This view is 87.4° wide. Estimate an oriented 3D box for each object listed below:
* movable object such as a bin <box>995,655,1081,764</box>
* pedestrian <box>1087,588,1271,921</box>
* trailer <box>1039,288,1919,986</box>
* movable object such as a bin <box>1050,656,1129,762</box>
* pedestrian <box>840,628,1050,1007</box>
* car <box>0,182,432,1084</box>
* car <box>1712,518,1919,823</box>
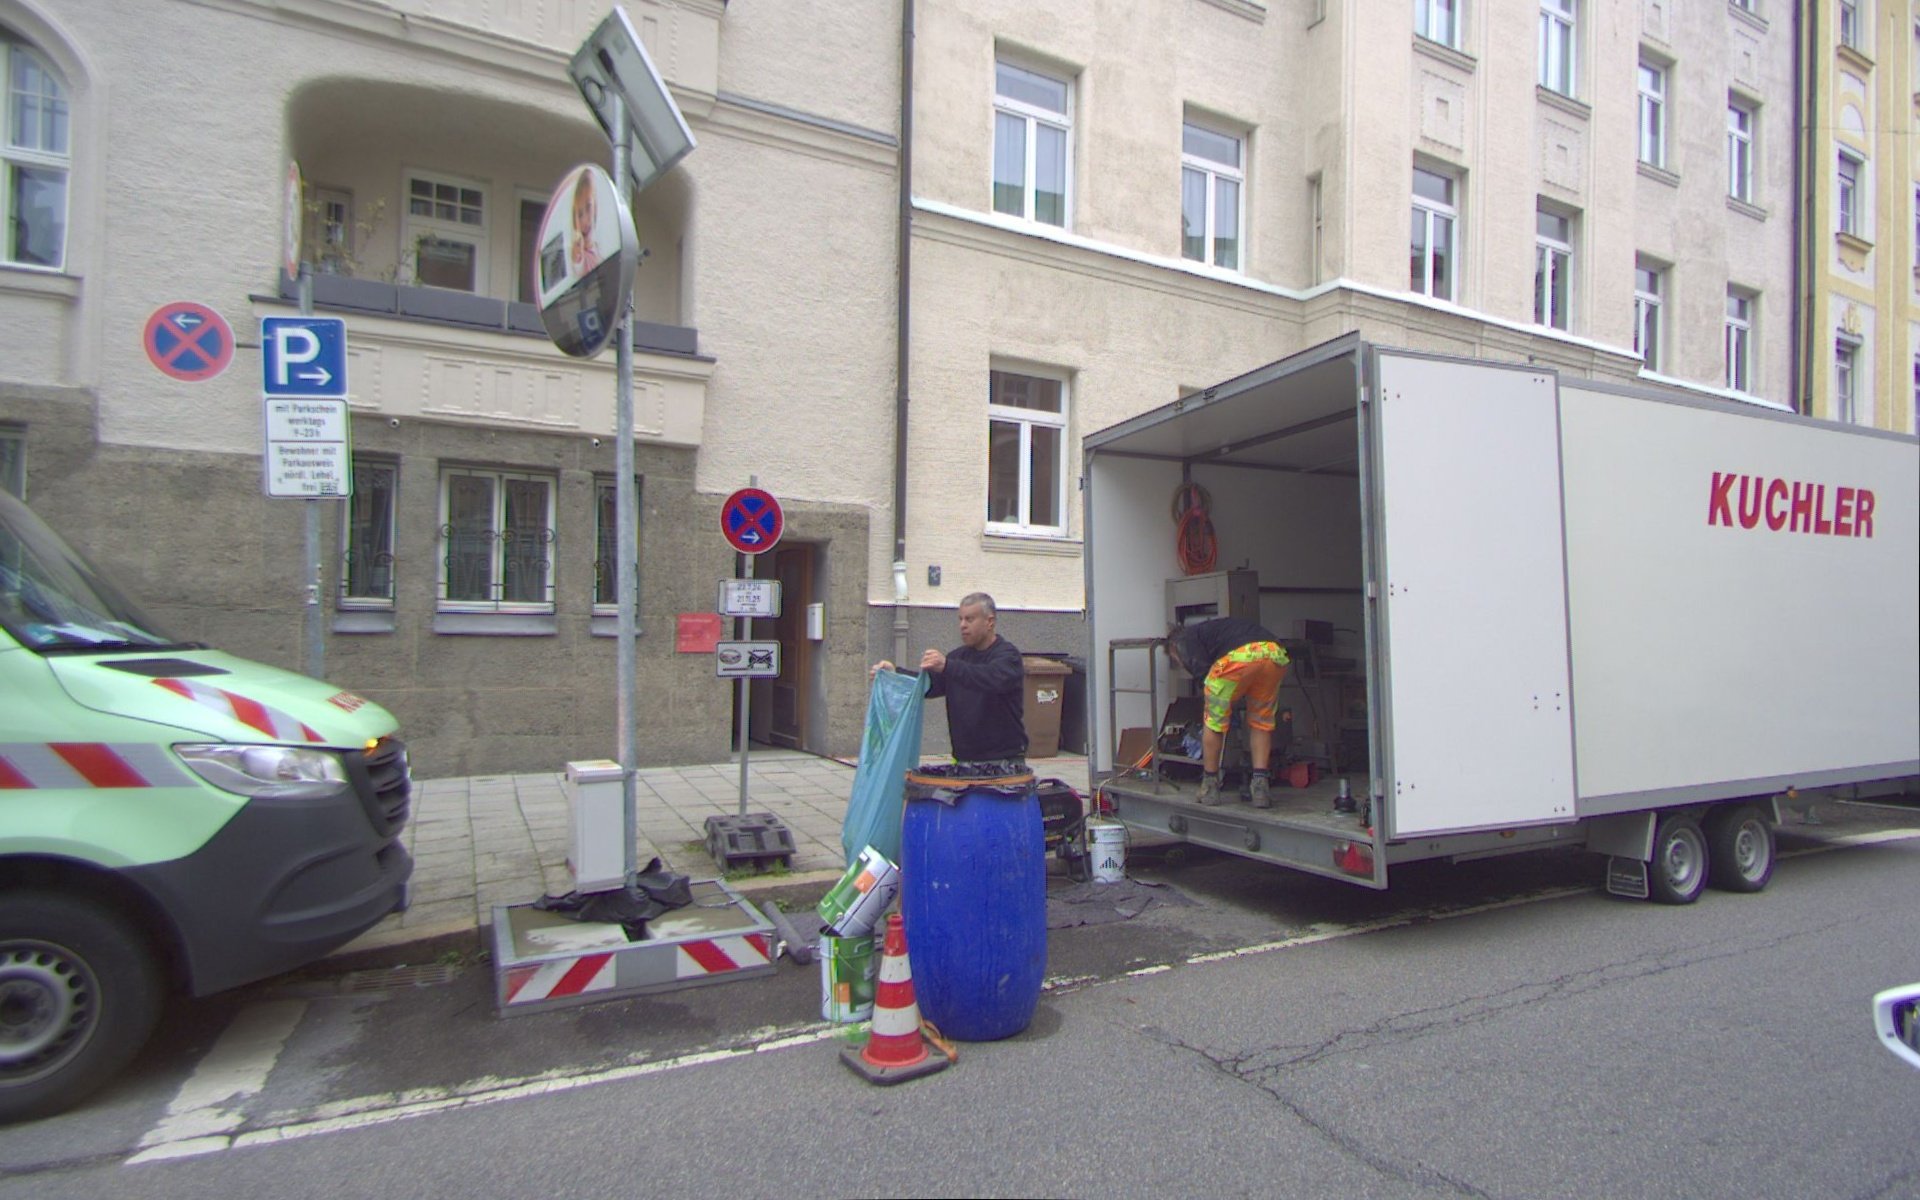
[{"bbox_3d":[0.863,1.198,11.154,0.720,1.143,0.647,2,-2,-24],"label":"movable object such as a bin"},{"bbox_3d":[1.197,0.782,5.490,0.753,1.652,0.633,-1,-3,44],"label":"pedestrian"},{"bbox_3d":[4.526,0.289,7.225,7.497,3.007,2.796,1,-4,-26],"label":"trailer"},{"bbox_3d":[1.472,1.224,11.454,0.630,1.143,0.647,2,-2,-24],"label":"movable object such as a bin"},{"bbox_3d":[-0.073,0.944,4.780,0.633,1.601,0.754,3,-3,-44],"label":"pedestrian"},{"bbox_3d":[-5.321,0.044,2.791,6.707,2.606,2.133,2,-1,-27],"label":"car"},{"bbox_3d":[11.049,0.745,10.714,6.791,2.620,2.049,2,-6,-28],"label":"car"}]
